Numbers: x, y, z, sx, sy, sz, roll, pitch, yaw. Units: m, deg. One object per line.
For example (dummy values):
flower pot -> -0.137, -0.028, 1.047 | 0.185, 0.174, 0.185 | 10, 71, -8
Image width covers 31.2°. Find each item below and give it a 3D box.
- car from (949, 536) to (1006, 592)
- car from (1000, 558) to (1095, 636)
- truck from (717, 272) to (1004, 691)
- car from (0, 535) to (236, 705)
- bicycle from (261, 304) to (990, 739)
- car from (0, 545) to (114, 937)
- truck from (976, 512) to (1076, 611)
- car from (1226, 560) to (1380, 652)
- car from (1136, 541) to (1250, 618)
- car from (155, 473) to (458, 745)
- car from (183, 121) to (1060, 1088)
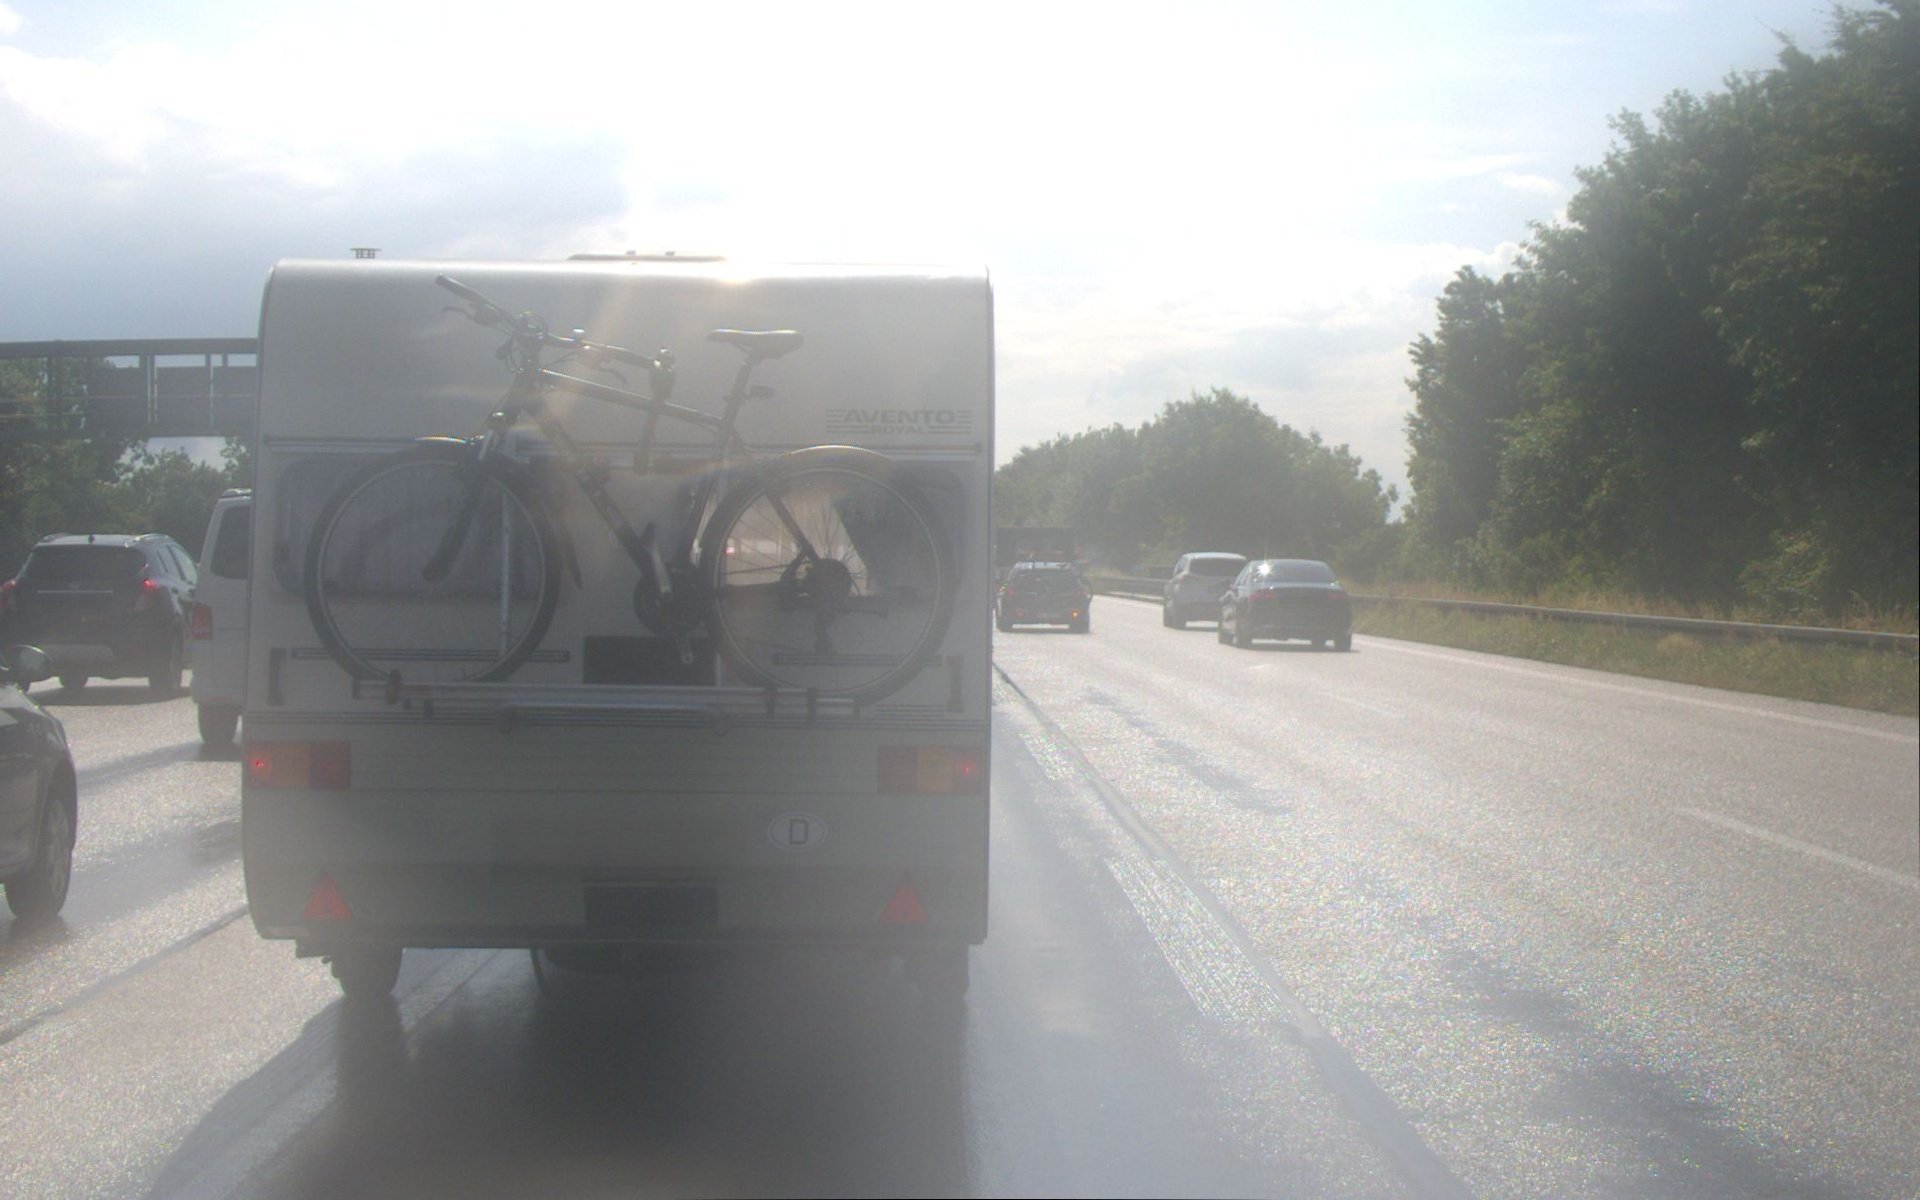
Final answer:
car -> 0.517, -1.123, 106.550 | 1.719, 1.678, 4.000 | 1, 1, 0
car -> 1.793, -0.080, 71.332 | 1.835, 1.552, 4.000 | 1, 1, 0
truck -> -1.283, -1.378, 43.395 | 3.146, 4.610, 10.737 | 0, 1, -2
car -> -8.766, 0.177, 35.873 | 1.771, 1.656, 4.001 | 1, 1, -3
bicycle -> -0.895, -0.211, 9.385 | 1.933, 1.137, 0.384 | 1, 0, 0
car -> -4.558, 0.521, 12.587 | 1.987, 1.453, 3.827 | 1, 1, 0
truck -> 1.652, -1.006, 88.463 | 2.415, 2.435, 6.053 | 1, 1, 0
car -> 5.790, 0.074, 58.486 | 1.876, 1.489, 4.001 | 1, 1, -5
car -> 5.051, -0.455, 75.002 | 1.876, 1.623, 4.001 | 1, 1, -5
car -> -5.174, 0.051, 27.677 | 1.876, 2.007, 4.001 | 1, 0, -3
car -> -0.955, -0.005, 11.595 | 2.410, 2.665, 4.000 | 1, 0, 0
